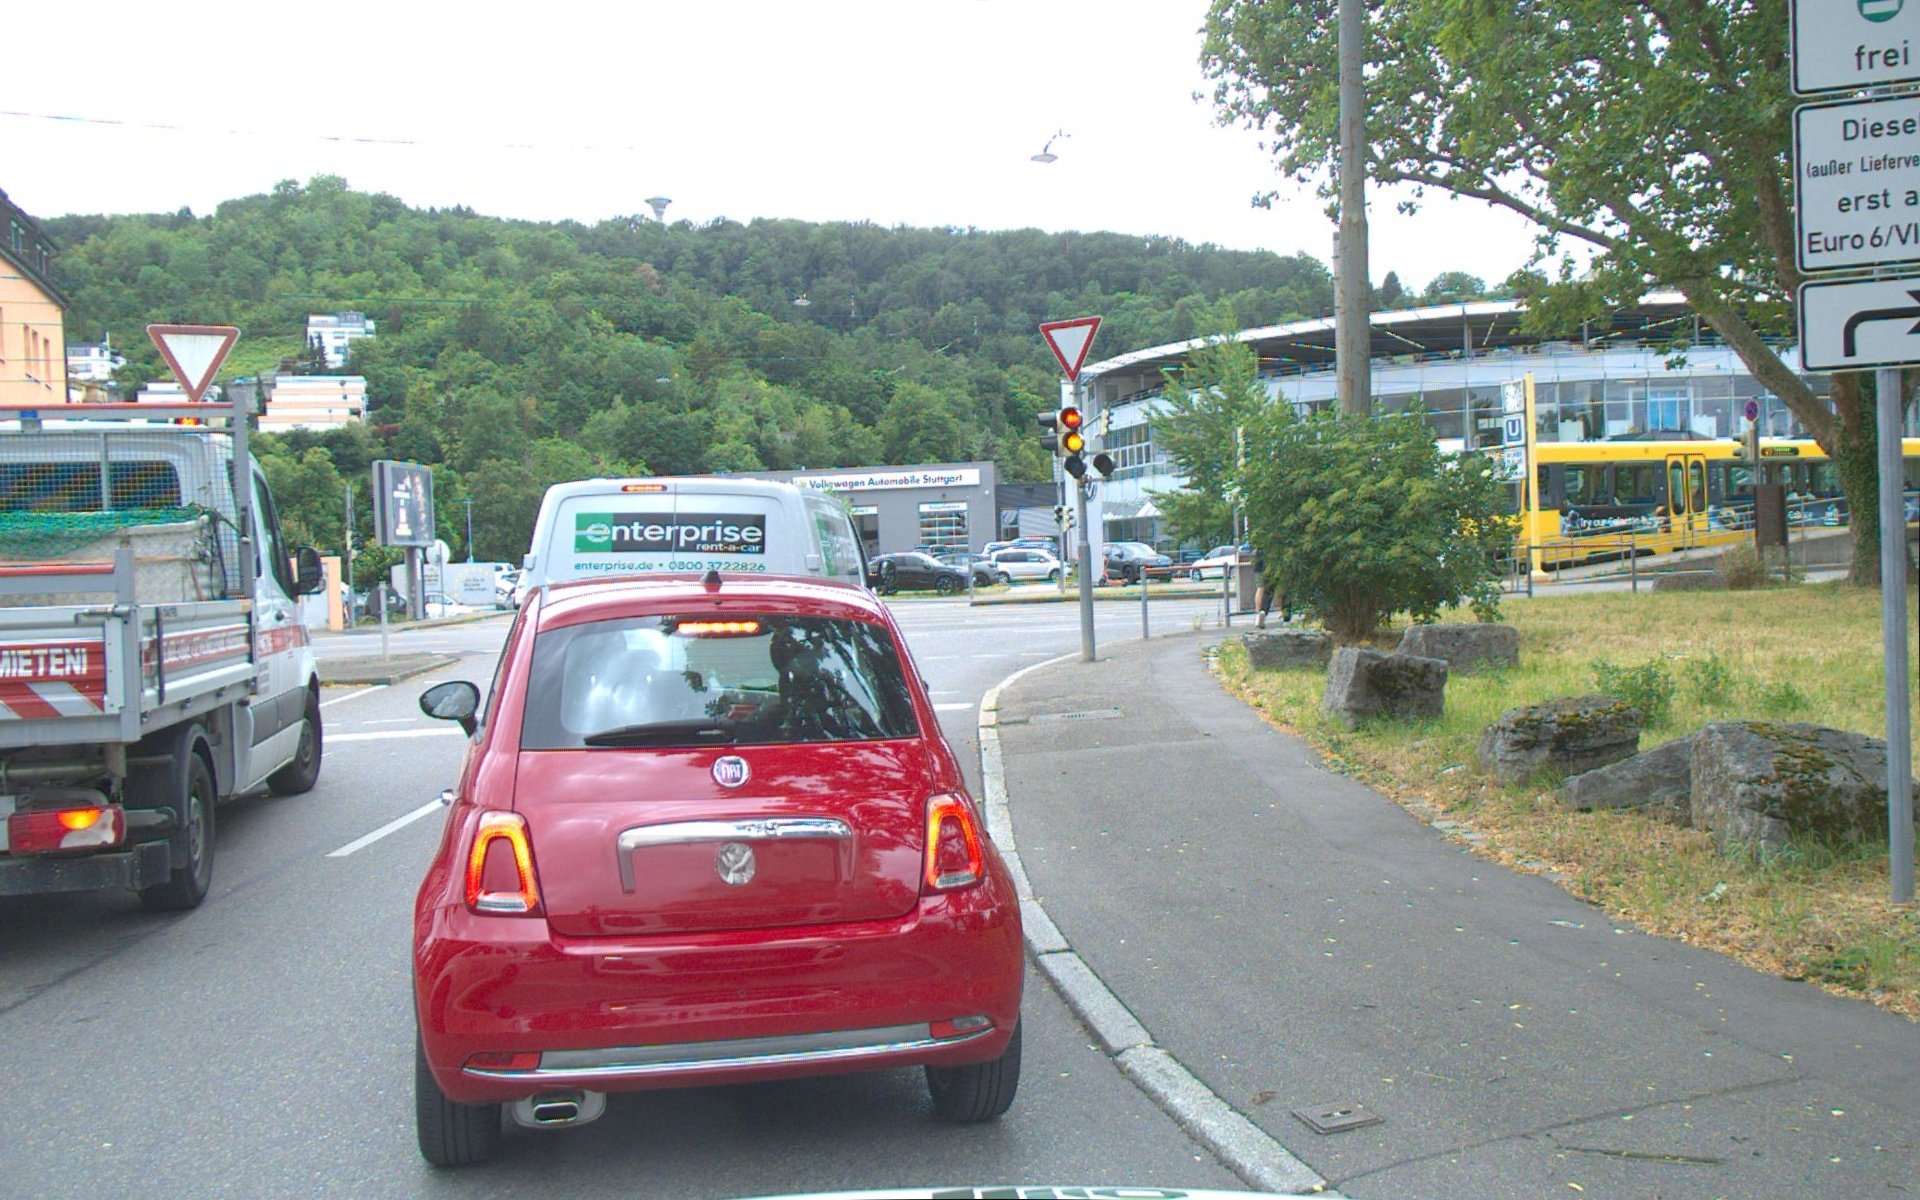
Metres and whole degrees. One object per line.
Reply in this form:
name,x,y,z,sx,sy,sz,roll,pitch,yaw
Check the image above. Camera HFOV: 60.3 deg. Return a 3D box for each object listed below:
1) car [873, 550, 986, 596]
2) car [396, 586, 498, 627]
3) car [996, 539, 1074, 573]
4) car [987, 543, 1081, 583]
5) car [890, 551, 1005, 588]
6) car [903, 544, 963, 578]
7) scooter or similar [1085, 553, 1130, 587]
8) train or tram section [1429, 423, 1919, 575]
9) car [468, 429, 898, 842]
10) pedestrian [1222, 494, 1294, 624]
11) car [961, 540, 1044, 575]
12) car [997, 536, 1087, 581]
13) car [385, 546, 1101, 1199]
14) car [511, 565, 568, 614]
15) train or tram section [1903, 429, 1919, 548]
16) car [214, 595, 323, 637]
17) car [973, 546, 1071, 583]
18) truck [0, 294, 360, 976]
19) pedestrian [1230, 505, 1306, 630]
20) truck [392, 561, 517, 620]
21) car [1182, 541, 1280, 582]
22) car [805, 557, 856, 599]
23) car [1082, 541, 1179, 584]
car,-1.136,-0.994,61.367,3.787,1.526,1.777,-2,1,16
car,-22.480,0.279,72.631,4.135,1.560,1.768,-3,2,-16
car,4.588,-2.706,101.193,4.696,1.834,1.776,-2,1,2
car,3.760,-1.904,84.683,4.696,1.834,1.776,-2,1,2
car,-0.517,-1.306,70.457,4.572,1.351,1.777,-2,1,13
car,-1.577,-2.368,99.556,1.954,1.847,3.997,-2,2,26
scooter or similar,5.559,-1.140,62.389,1.633,1.198,0.468,-2,1,6
train or tram section,21.970,-2.981,46.924,18.859,3.729,3.254,-3,2,-24
car,-1.589,0.134,11.336,1.948,2.143,4.763,-3,1,1
pedestrian,4.457,-0.613,24.715,0.683,1.889,0.784,-2,2,42
car,2.477,-2.479,96.268,4.696,1.834,1.776,-2,1,2
car,4.426,-2.270,89.610,4.696,2.194,2.234,-2,1,2
car,-0.799,0.612,5.507,1.610,1.482,3.421,-2,1,-12
car,-17.288,-0.464,68.137,1.826,1.849,4.393,-3,2,-9
train or tram section,39.130,-3.957,54.626,18.859,3.729,3.254,-3,2,-24
car,-29.358,0.659,70.320,4.146,1.560,1.763,-3,2,-23
car,3.061,-1.747,81.127,4.696,1.560,1.776,-2,1,2
truck,-4.829,0.129,8.682,2.381,2.439,6.008,-3,1,-14
pedestrian,4.421,-0.470,23.738,0.782,1.744,0.684,-4,2,-43
truck,-23.113,-0.448,75.704,5.127,2.434,1.981,-3,2,-29
car,10.955,-1.554,67.025,1.753,1.526,3.979,-3,2,-31
car,-6.128,-1.080,78.745,1.952,1.847,4.001,-2,2,1
car,6.707,-1.463,65.261,1.754,1.526,3.837,-3,2,-33
